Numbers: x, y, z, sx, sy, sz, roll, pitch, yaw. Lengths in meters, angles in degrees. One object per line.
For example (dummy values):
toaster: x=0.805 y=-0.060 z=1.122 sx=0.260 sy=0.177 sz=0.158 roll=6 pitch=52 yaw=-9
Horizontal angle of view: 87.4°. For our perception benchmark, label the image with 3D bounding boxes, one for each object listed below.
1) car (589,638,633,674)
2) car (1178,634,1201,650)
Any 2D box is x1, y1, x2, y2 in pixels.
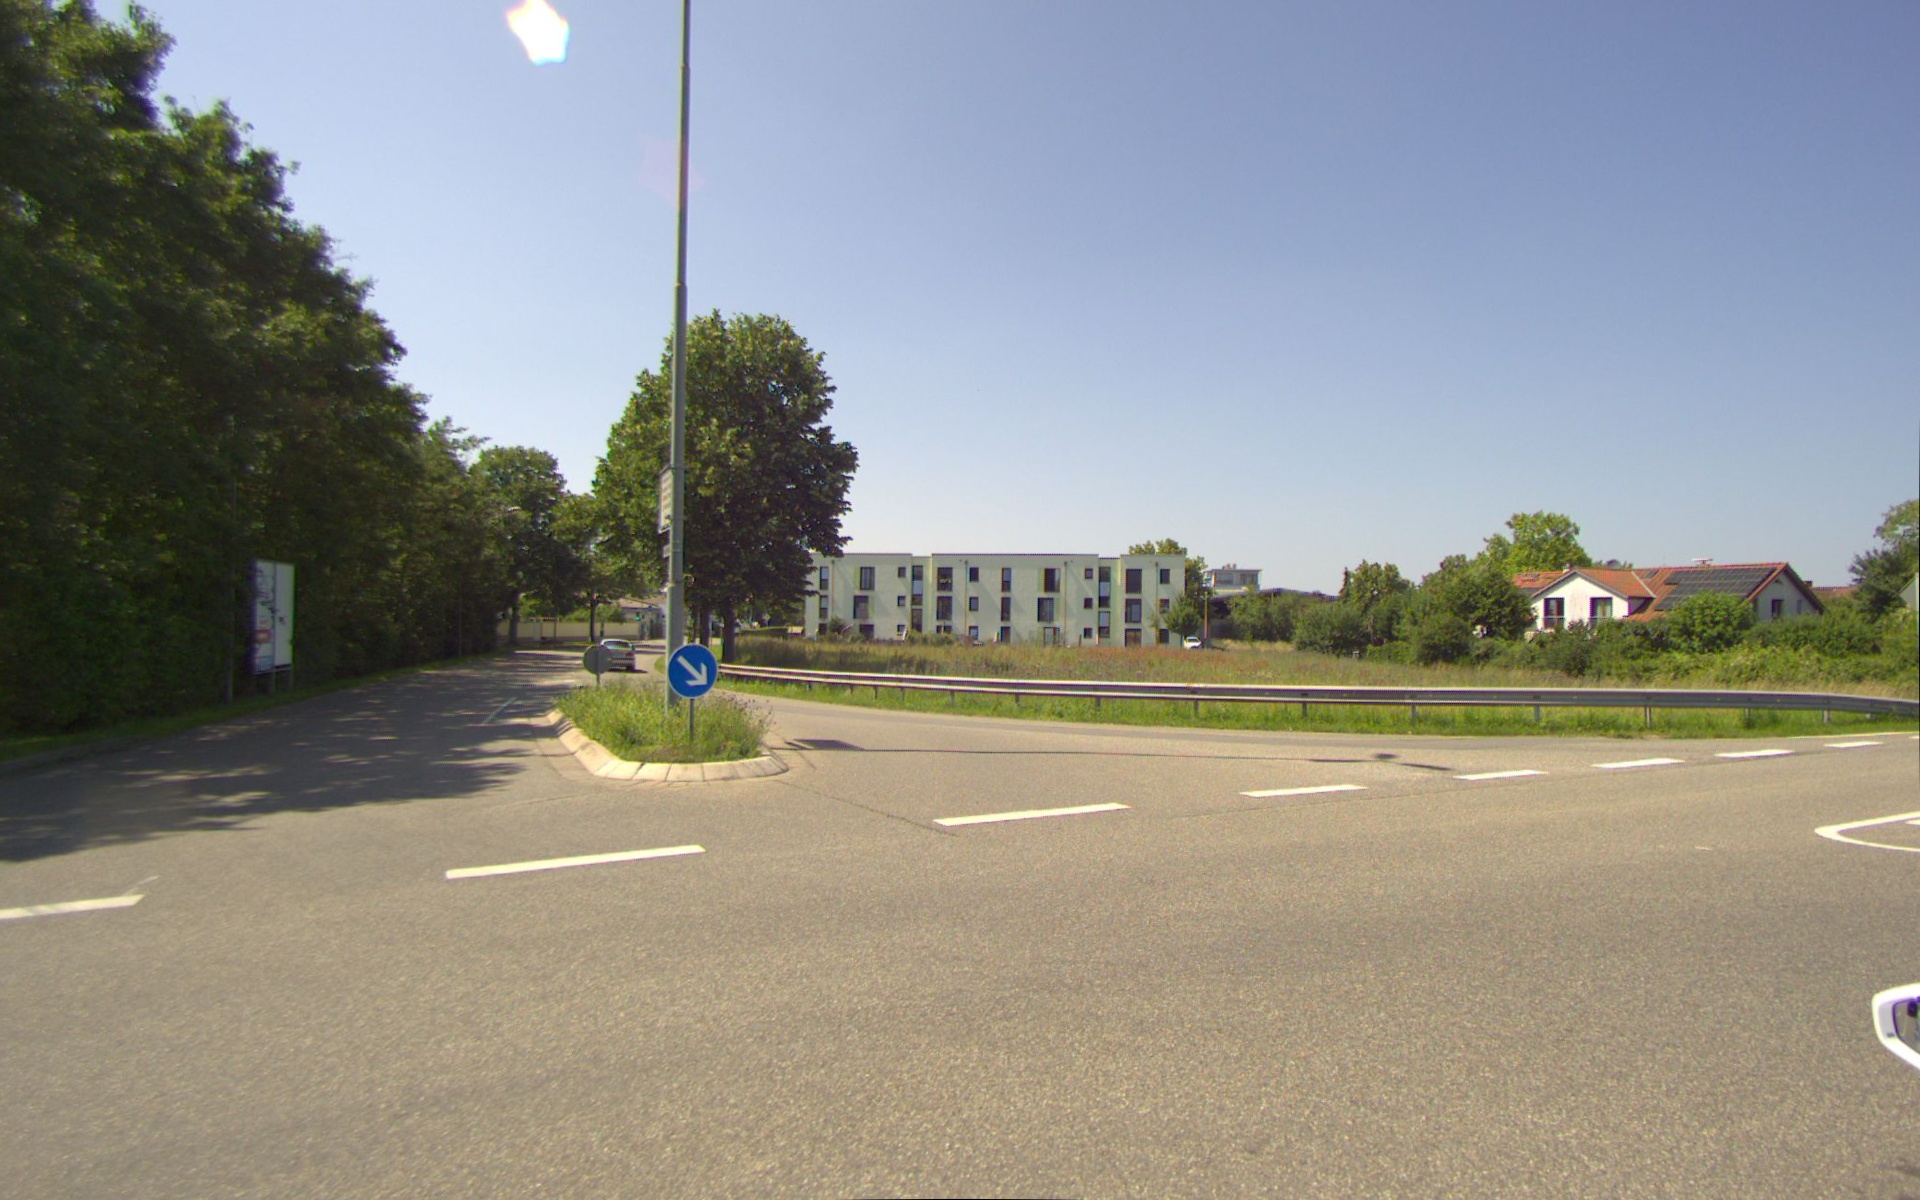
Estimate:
car: x=-16.055 y=2.527 z=46.073 sx=1.618 sy=1.490 sz=4.392 roll=1 pitch=-1 yaw=-23
car: x=25.406 y=4.662 z=111.350 sx=1.789 sy=1.639 sz=4.002 roll=1 pitch=-1 yaw=3
